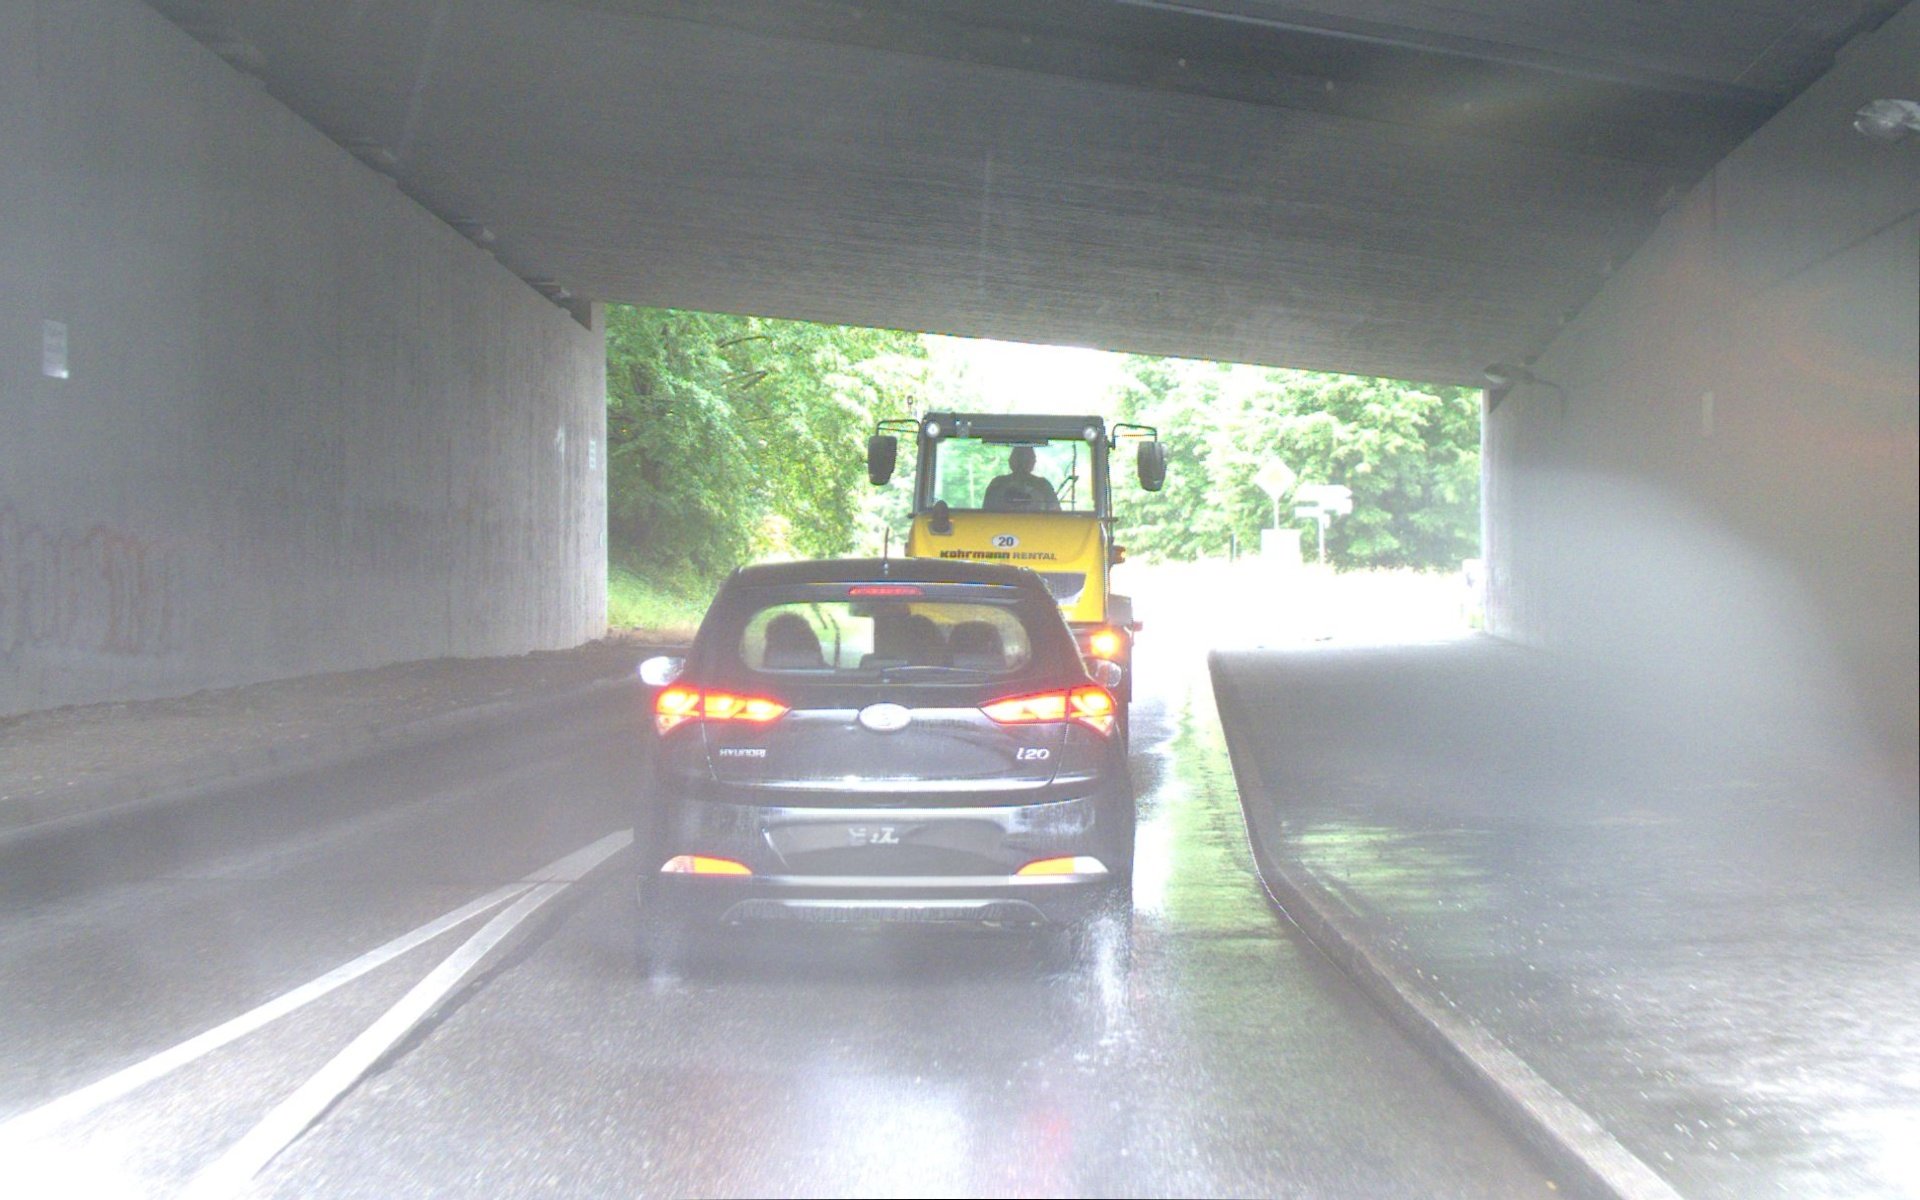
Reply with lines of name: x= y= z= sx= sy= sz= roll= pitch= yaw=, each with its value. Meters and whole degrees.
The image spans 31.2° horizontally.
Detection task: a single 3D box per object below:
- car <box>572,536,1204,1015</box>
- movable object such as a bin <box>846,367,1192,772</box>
car: x=-0.221 y=0.536 z=13.092 sx=1.993 sy=1.482 sz=4.000 roll=2 pitch=1 yaw=0
movable object such as a bin: x=0.419 y=-0.254 z=26.499 sx=2.245 sy=2.660 sz=6.627 roll=2 pitch=1 yaw=0
